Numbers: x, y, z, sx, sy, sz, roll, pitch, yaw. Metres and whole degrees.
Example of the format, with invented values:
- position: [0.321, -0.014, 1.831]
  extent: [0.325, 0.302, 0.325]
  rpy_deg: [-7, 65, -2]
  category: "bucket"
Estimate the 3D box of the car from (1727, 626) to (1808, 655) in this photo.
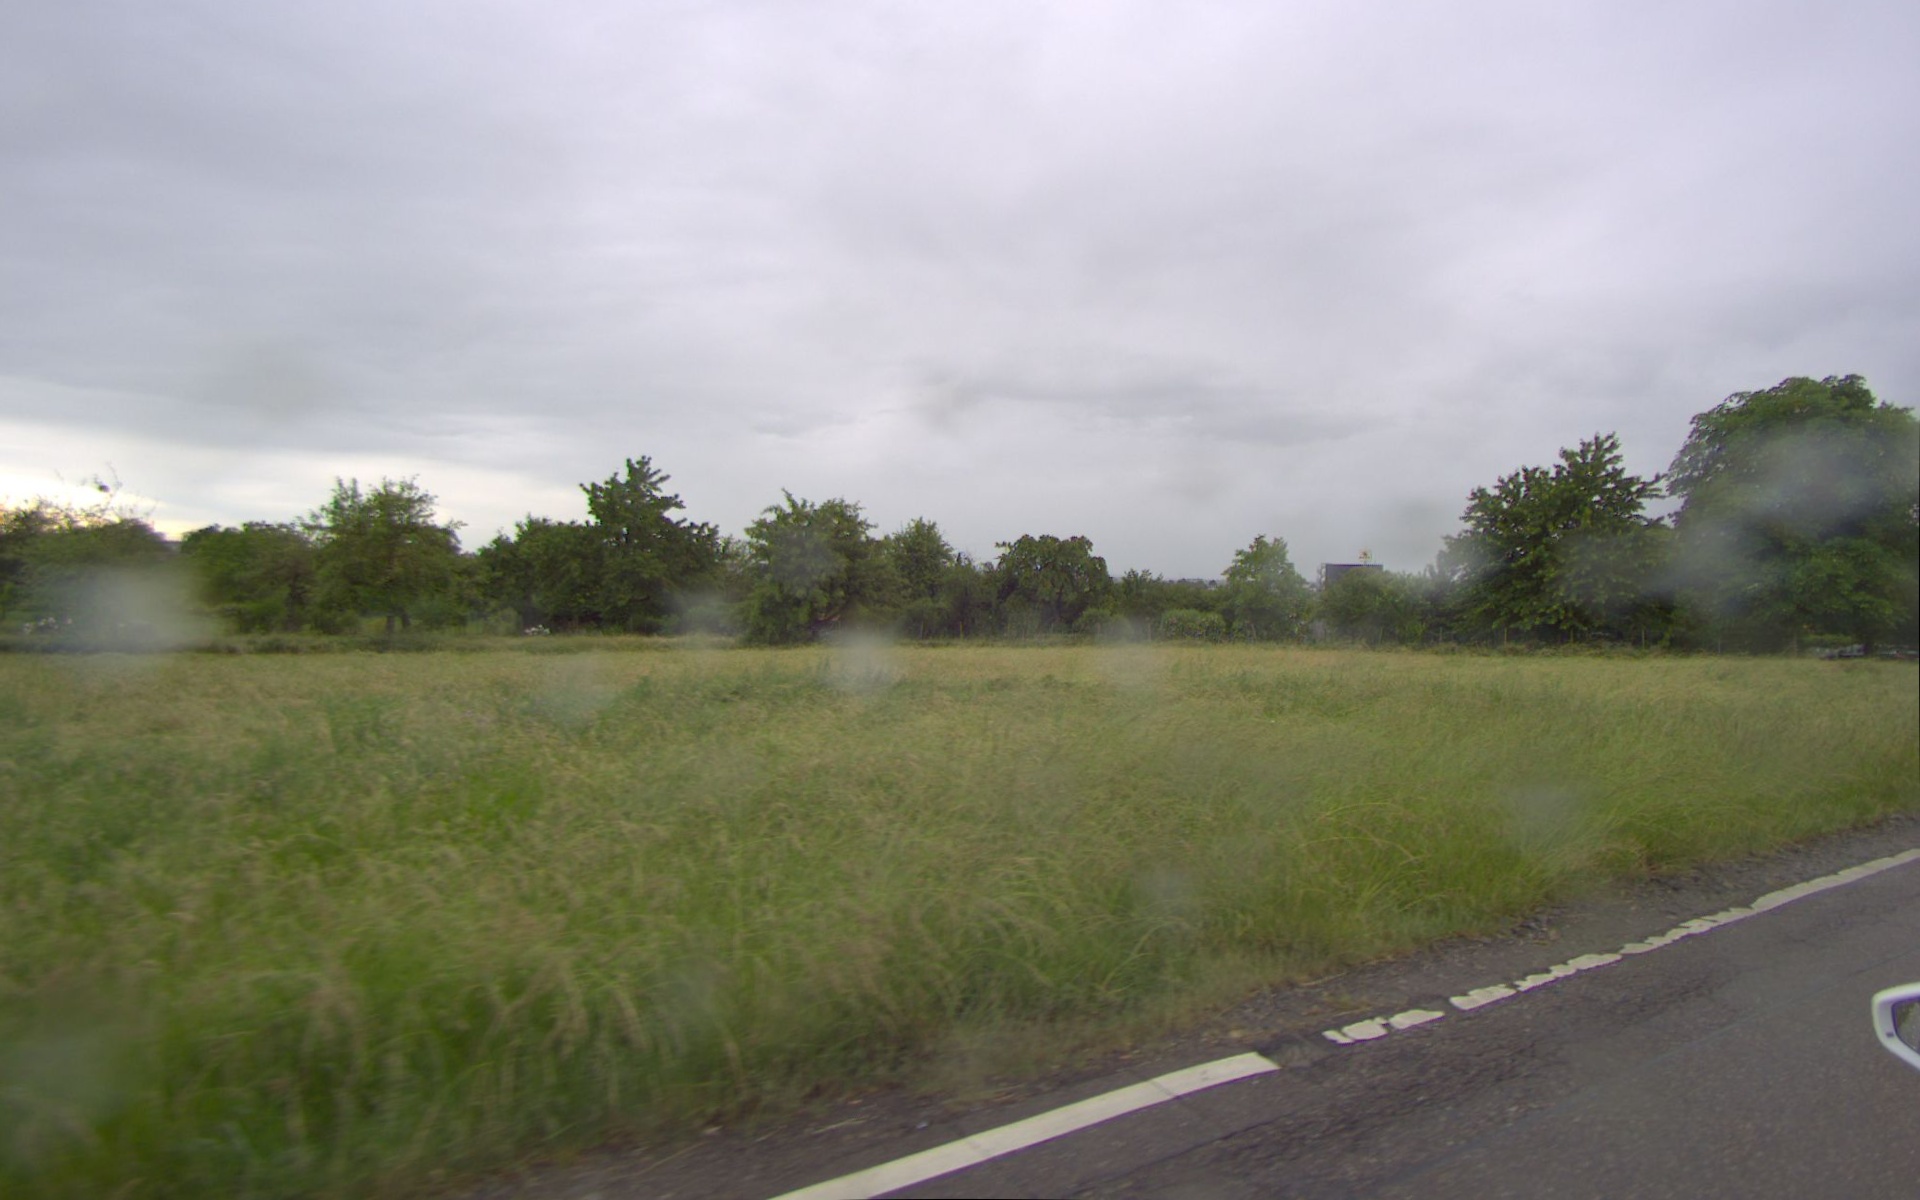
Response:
- position: [46.389, 2.332, 57.788]
  extent: [1.580, 1.522, 3.726]
  rpy_deg: [3, -2, -2]
  category: "car"

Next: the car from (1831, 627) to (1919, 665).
- position: [43.294, 2.157, 47.096]
  extent: [1.659, 1.572, 3.696]
  rpy_deg: [3, 0, -1]
  category: "car"
